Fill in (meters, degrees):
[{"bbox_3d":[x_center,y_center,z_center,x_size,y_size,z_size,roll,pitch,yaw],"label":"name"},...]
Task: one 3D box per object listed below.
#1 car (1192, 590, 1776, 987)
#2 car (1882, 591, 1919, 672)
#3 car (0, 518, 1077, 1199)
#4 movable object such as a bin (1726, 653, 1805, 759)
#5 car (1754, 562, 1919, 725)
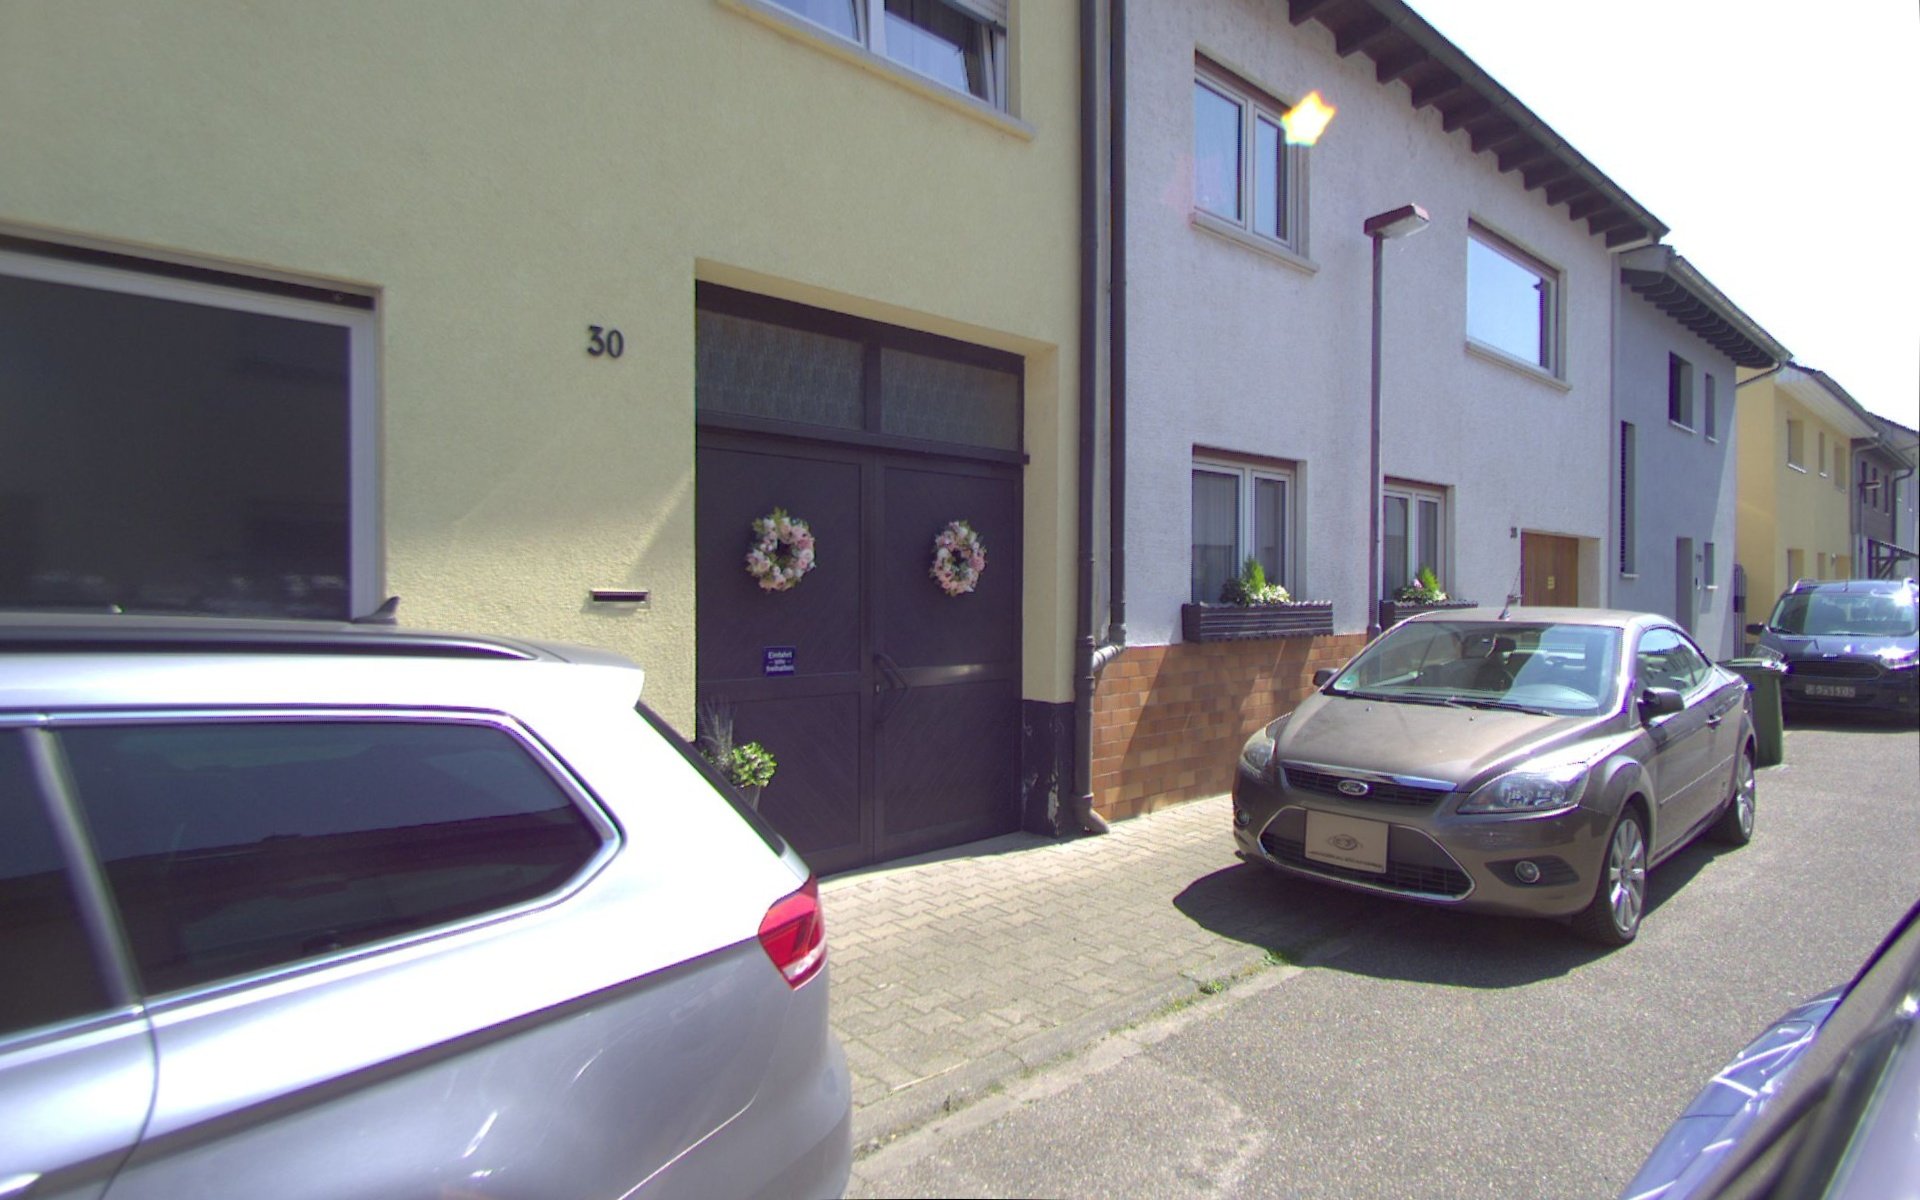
[{"bbox_3d":[3.200,0.694,5.765,4.034,1.453,1.698,-1,0,-43],"label":"car"},{"bbox_3d":[19.287,0.575,19.634,4.175,1.432,1.664,-1,2,-42],"label":"car"},{"bbox_3d":[-2.113,0.680,0.996,4.696,1.467,1.840,-1,0,-43],"label":"car"},{"bbox_3d":[7.557,0.971,9.493,0.549,0.903,0.570,-1,0,42],"label":"movable object such as a bin"},{"bbox_3d":[11.736,0.432,13.025,4.127,1.799,1.699,-1,2,-42],"label":"car"}]
